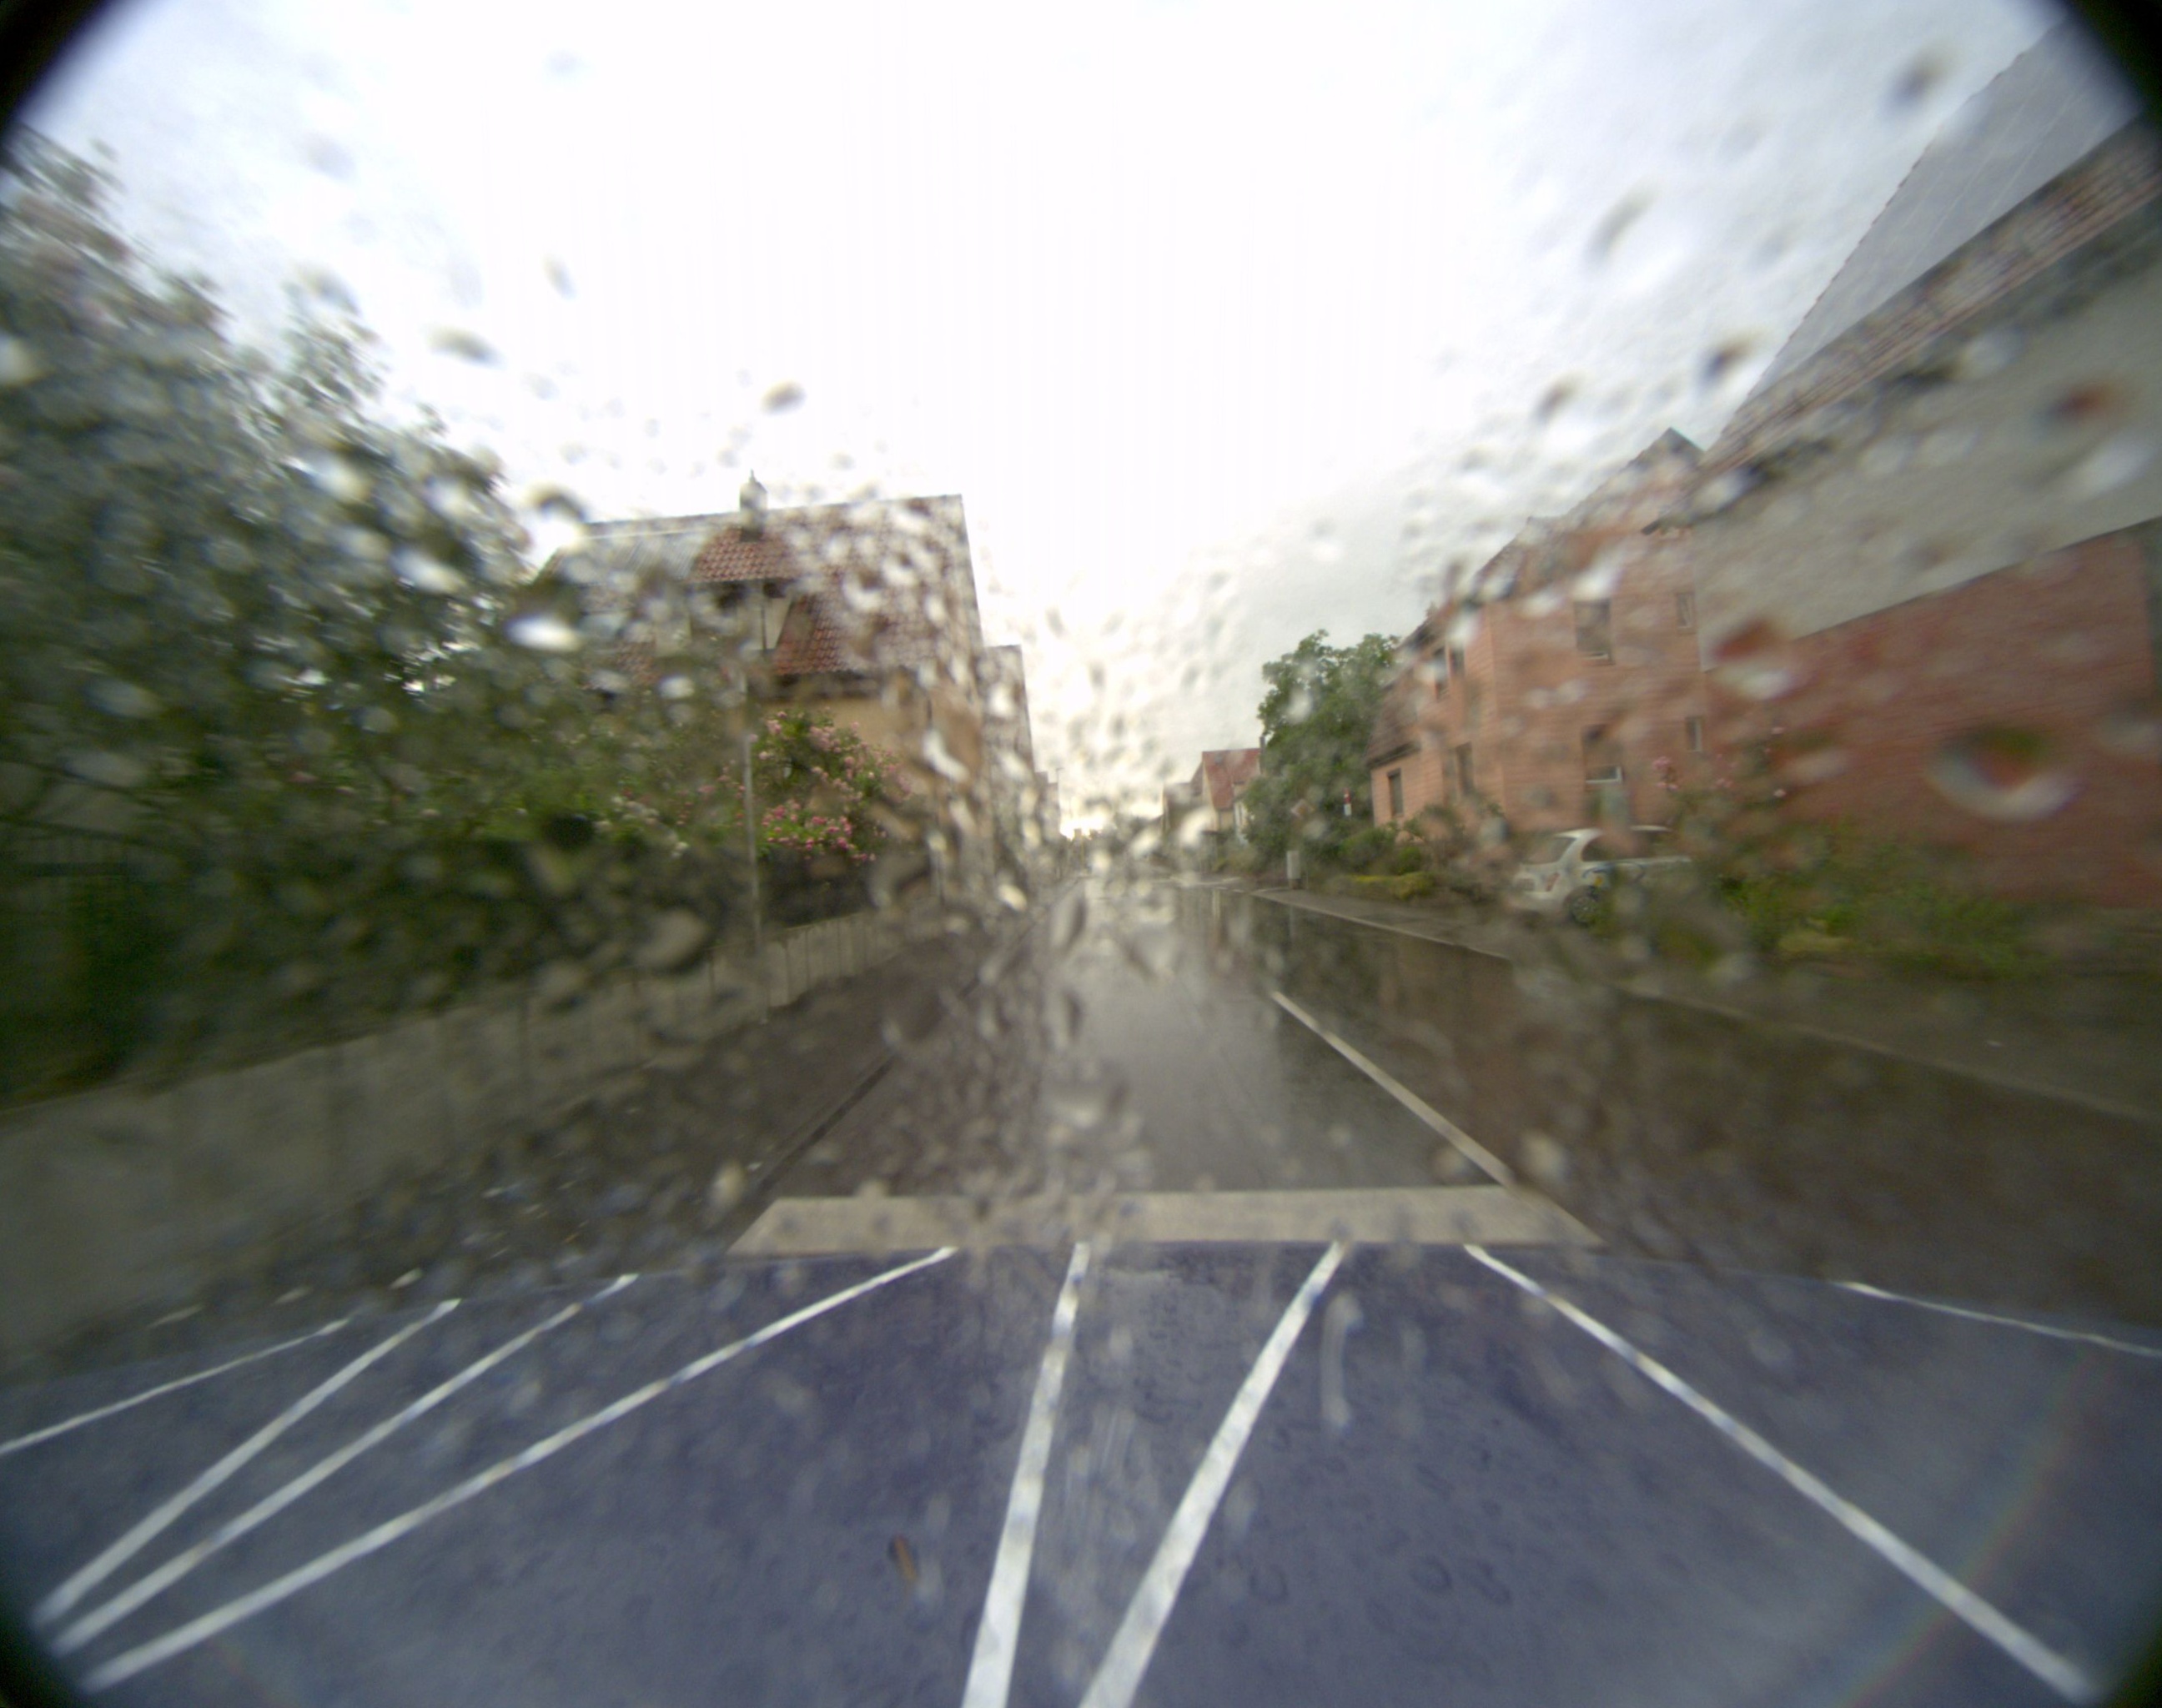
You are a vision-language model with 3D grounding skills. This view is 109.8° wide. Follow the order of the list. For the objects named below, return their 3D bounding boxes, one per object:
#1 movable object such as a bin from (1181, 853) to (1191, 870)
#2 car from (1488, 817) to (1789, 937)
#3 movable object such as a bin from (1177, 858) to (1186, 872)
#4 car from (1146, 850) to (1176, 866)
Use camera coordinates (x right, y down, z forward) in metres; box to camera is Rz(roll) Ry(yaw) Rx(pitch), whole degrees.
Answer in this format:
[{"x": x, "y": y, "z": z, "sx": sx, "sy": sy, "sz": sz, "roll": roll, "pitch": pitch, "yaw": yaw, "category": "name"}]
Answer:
[{"x": 7.296, "y": 0.516, "z": 52.830, "sx": 0.554, "sy": 1.076, "sz": 0.528, "roll": -6, "pitch": 0, "yaw": 4, "category": "movable object such as a bin"}, {"x": 8.932, "y": 0.352, "z": 12.420, "sx": 3.553, "sy": 1.520, "sz": 1.663, "roll": -5, "pitch": 0, "yaw": 3, "category": "car"}, {"x": 6.946, "y": 0.777, "z": 52.438, "sx": 0.469, "sy": 0.933, "sz": 0.455, "roll": -7, "pitch": -2, "yaw": 4, "category": "movable object such as a bin"}, {"x": 12.290, "y": 0.606, "z": 116.891, "sx": 3.998, "sy": 1.964, "sz": 1.873, "roll": 9, "pitch": 0, "yaw": -2, "category": "car"}]
